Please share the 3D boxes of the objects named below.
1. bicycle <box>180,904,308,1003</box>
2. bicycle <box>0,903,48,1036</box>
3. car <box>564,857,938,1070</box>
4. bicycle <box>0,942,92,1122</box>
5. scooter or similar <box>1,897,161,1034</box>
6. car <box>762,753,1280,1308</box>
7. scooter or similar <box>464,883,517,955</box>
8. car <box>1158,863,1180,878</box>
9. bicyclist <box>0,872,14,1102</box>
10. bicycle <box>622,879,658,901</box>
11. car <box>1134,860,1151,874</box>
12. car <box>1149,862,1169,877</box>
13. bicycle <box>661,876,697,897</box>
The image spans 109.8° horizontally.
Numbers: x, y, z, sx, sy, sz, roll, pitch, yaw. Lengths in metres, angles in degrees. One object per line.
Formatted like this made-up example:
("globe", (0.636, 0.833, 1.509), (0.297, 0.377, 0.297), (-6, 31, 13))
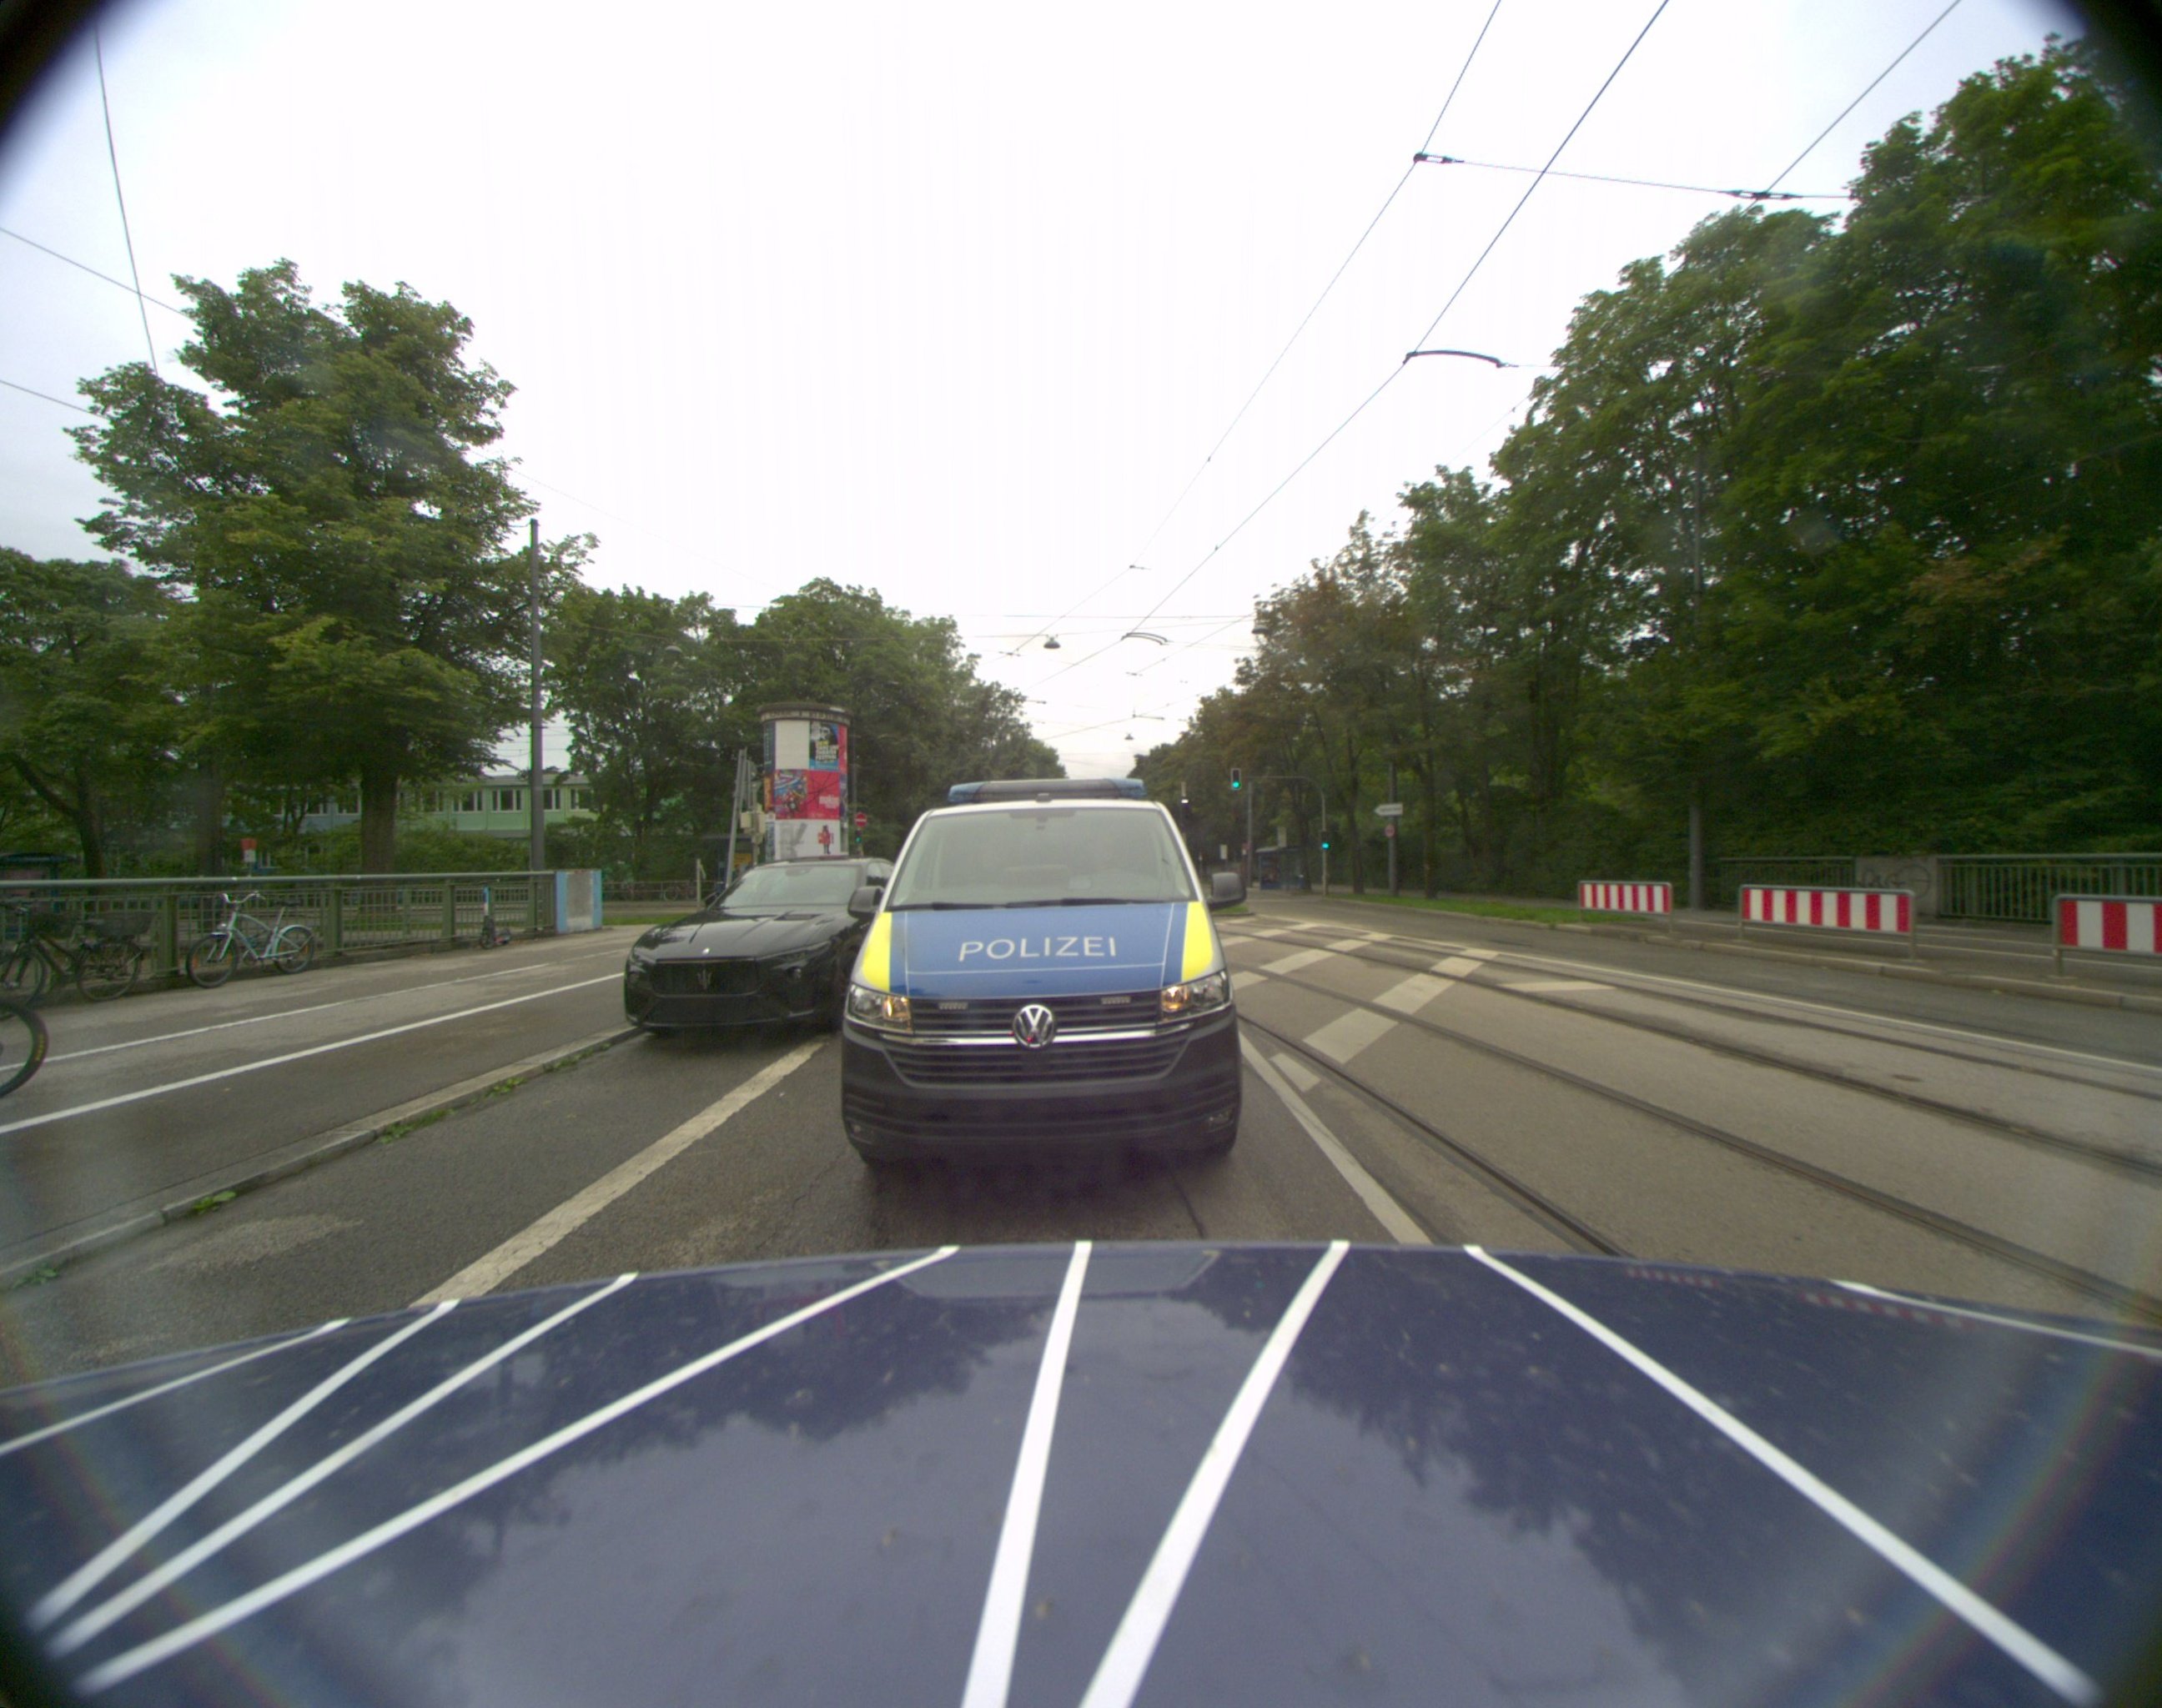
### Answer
("bicycle", (-10.747, 1.233, 9.813), (0.265, 1.076, 1.540), (-3, 0, -14))
("bicycle", (-10.597, 1.137, 7.119), (0.283, 1.274, 1.408), (-3, 0, -19))
("car", (-3.033, 0.885, 8.301), (1.905, 1.600, 4.665), (-3, -1, 1))
("bicycle", (-7.072, 1.147, 4.254), (0.580, 1.072, 1.912), (1, 0, 0))
("scooter or similar", (-10.594, 1.126, 8.111), (0.245, 1.255, 1.493), (-3, 0, -22))
("car", (-0.261, 0.648, 5.681), (1.903, 2.041, 5.708), (-1, 0, -1))
("scooter or similar", (-10.635, 1.146, 13.697), (0.225, 1.205, 1.020), (-3, 1, -8))
("car", (9.930, 1.858, 85.689), (1.888, 1.531, 3.999), (-3, 0, -1))
("bicyclist", (-7.088, 0.694, 4.388), (0.726, 1.719, 0.726), (-3, 1, 0))
("bicycle", (-20.750, 1.692, 35.739), (1.483, 0.946, 0.373), (-1, 1, 3))
("car", (8.597, 1.810, 105.743), (1.888, 1.716, 3.999), (-3, 0, -1))
("car", (9.327, 1.846, 91.079), (1.888, 1.716, 3.999), (-3, 0, -1))
("bicycle", (-18.774, 1.506, 35.488), (1.483, 0.946, 0.373), (-1, 1, 3))
